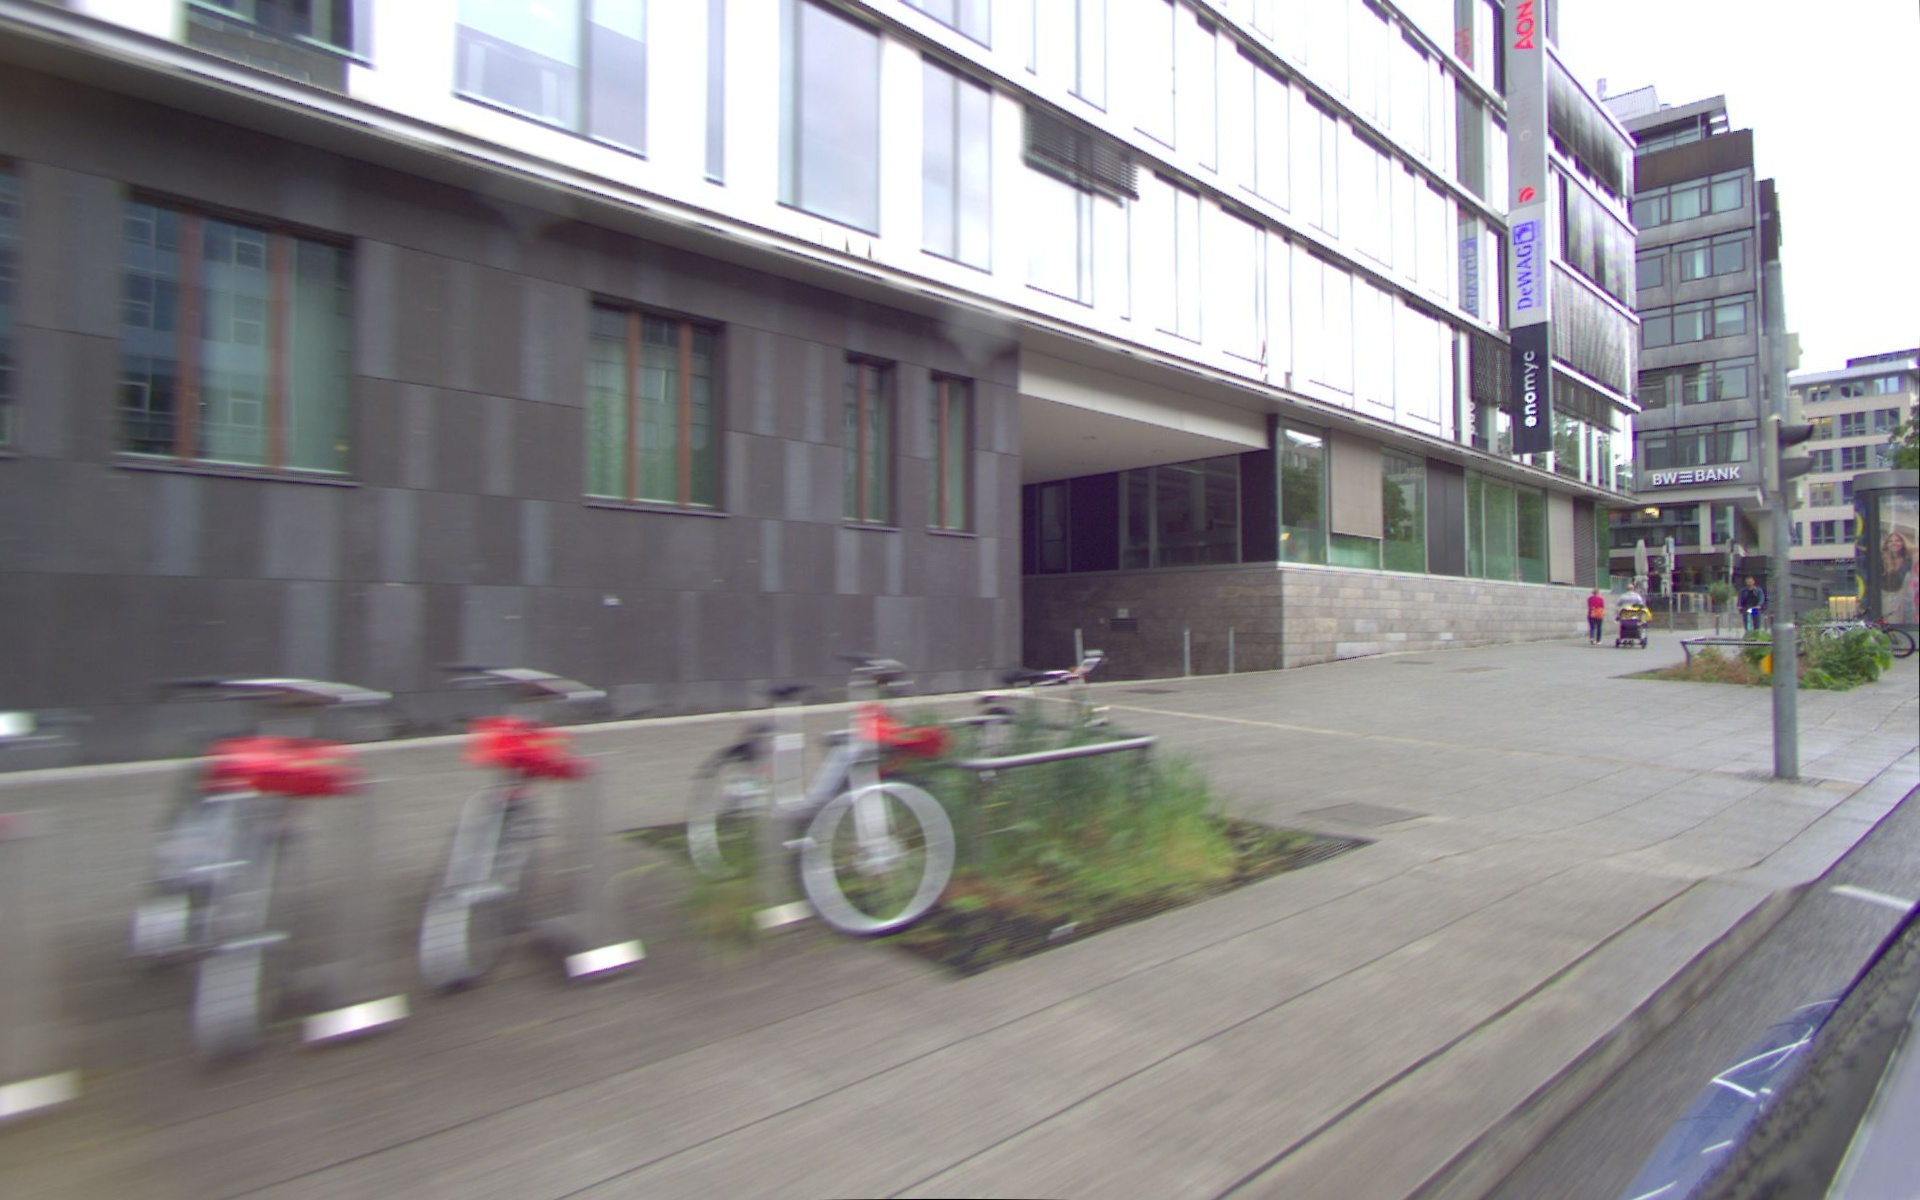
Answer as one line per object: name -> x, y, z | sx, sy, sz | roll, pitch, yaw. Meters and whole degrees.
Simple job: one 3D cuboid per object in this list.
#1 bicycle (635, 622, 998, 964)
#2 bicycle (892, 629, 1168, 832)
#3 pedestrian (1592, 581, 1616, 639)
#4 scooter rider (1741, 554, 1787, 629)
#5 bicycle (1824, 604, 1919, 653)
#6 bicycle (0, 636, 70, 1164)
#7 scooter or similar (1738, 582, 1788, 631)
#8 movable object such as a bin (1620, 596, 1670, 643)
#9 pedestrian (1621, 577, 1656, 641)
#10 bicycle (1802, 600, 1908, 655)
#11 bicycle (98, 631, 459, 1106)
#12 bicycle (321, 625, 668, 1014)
bicycle -> -0.703, 0.716, 4.501 | 1.729, 1.198, 0.678 | 0, -1, 43
bicycle -> 0.400, 0.749, 6.478 | 1.729, 1.083, 0.678 | 0, -1, 43
pedestrian -> 19.328, 0.285, 30.390 | 0.569, 1.720, 0.484 | 0, 0, -43
scooter rider -> 22.324, -0.229, 28.092 | 0.907, 2.047, 0.780 | 0, -1, -38
bicycle -> 22.013, 0.662, 24.273 | 0.658, 1.124, 1.875 | 1, 0, -40
bicycle -> -3.032, 0.729, 2.815 | 1.729, 1.198, 0.678 | 0, -1, 43
scooter or similar -> 22.270, 0.171, 28.047 | 1.310, 1.322, 0.780 | 0, -1, -38
movable object such as a bin -> 19.339, 0.537, 28.570 | 1.758, 1.281, 0.803 | 0, 0, -43
pedestrian -> 19.947, 0.246, 29.747 | 0.734, 1.853, 0.722 | 0, 0, -43
bicycle -> 20.504, 0.608, 23.220 | 1.791, 1.222, 0.659 | 0, 0, 43
bicycle -> -2.419, 0.729, 3.503 | 1.729, 1.198, 0.678 | 0, -1, 43
bicycle -> -1.932, 0.720, 4.073 | 1.729, 1.198, 0.678 | 0, -1, 43
